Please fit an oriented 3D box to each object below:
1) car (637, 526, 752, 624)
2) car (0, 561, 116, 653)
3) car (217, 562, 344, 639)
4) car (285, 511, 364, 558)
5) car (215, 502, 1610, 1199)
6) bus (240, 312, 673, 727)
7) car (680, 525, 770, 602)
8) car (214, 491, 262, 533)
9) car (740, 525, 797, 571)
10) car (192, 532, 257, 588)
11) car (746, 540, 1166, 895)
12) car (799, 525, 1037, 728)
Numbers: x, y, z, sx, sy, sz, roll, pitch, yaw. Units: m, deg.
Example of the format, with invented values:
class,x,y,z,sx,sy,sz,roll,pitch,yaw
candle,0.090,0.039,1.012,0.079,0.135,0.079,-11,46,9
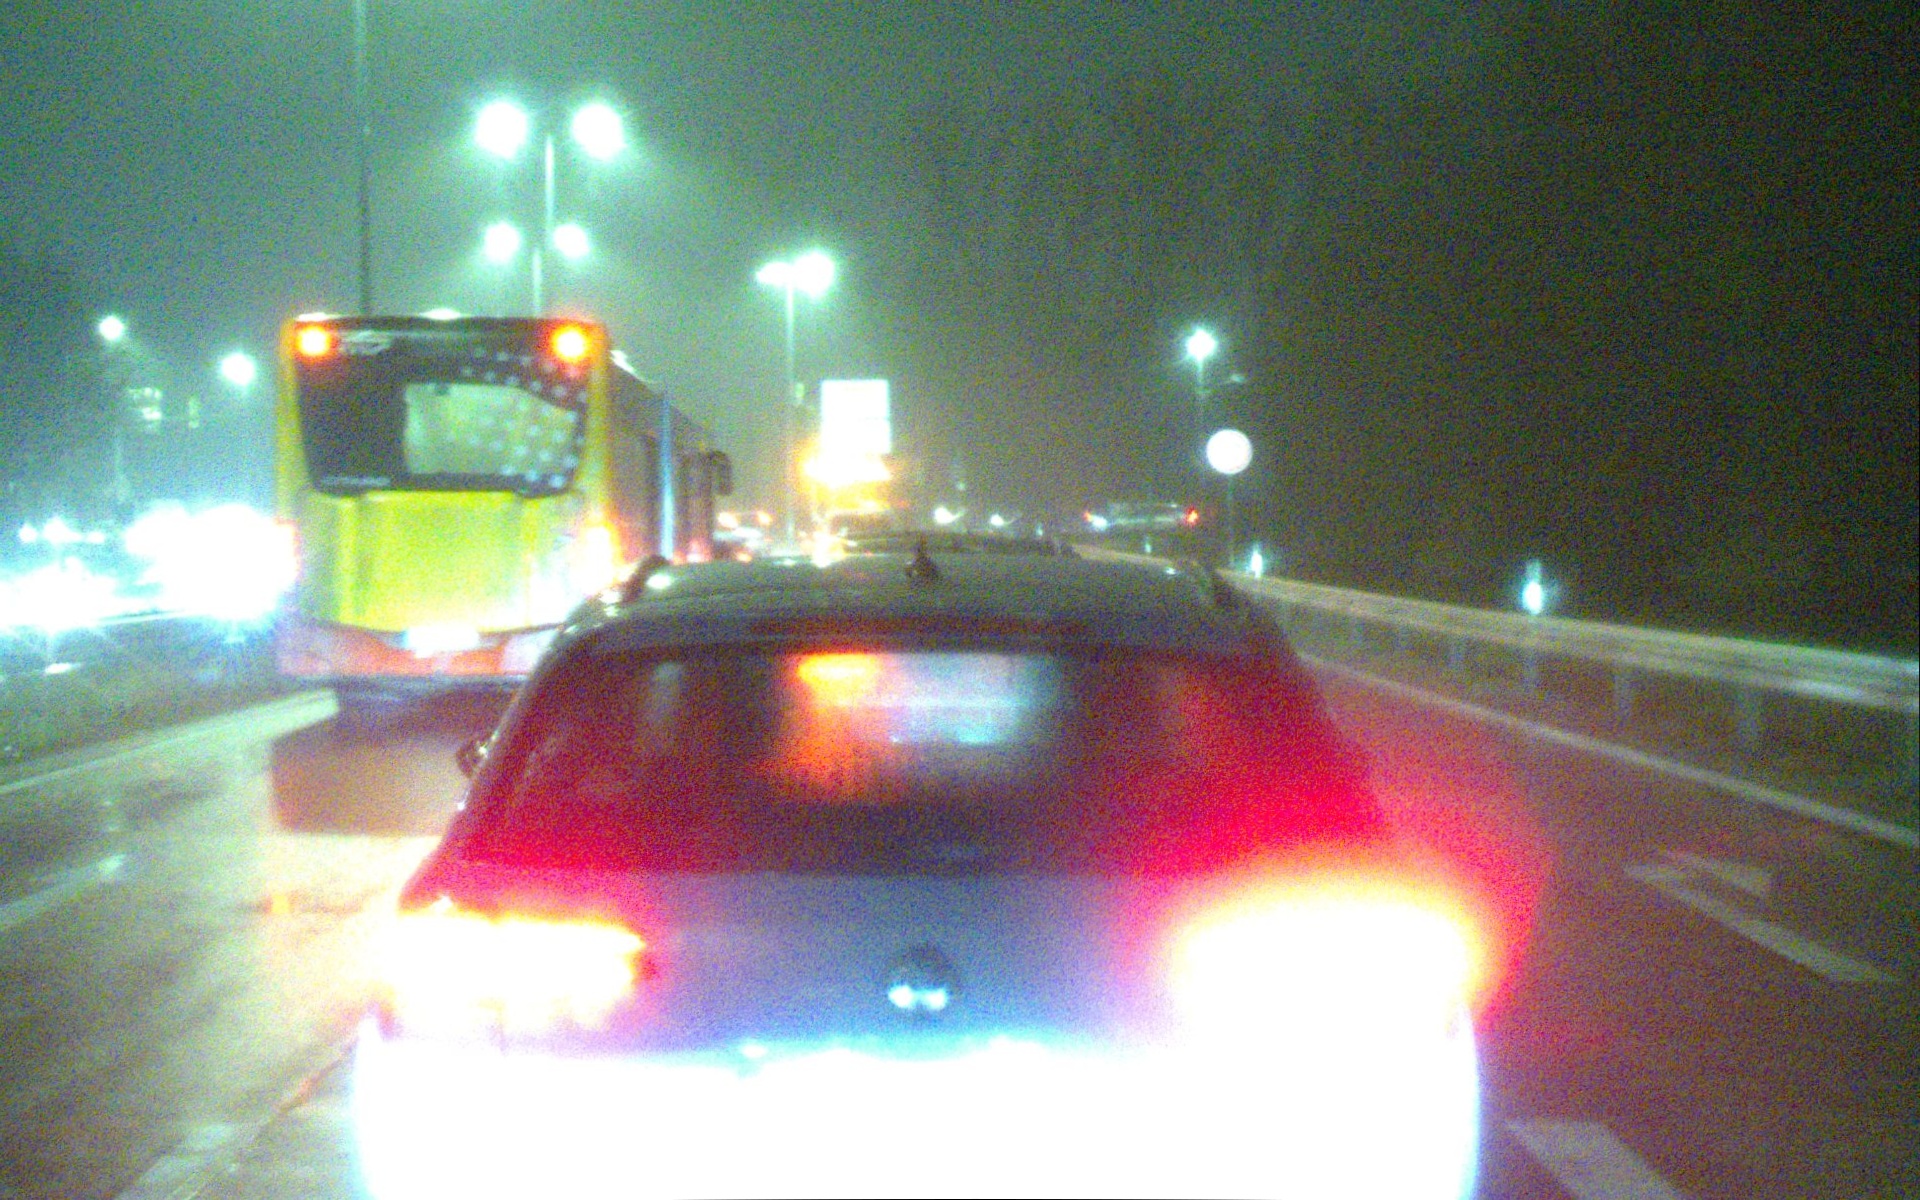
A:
class,x,y,z,sx,sy,sz,roll,pitch,yaw
car,-4.310,-0.435,56.226,1.779,1.538,3.875,0,1,-3
car,-15.238,0.102,56.641,1.610,1.377,4.164,-3,1,0
car,-13.227,-0.020,67.169,1.610,1.377,4.746,0,1,-1
car,-27.787,-2.854,150.216,1.993,2.007,4.000,0,1,-33
car,-0.103,0.607,6.889,1.821,1.479,4.568,3,1,-1
bus,-4.025,-0.673,29.380,2.815,3.013,8.688,0,1,-3
car,-4.831,-0.774,71.086,1.779,1.538,3.875,0,1,-3
car,-35.555,-4.328,169.225,2.120,2.007,4.001,1,1,-14
car,-6.493,-1.776,117.037,1.779,1.538,3.875,0,1,-1
car,-27.145,-1.488,126.929,1.993,2.007,4.001,1,1,-7
car,-0.117,0.449,16.597,1.731,1.444,4.725,0,1,-2
car,-0.412,0.168,28.575,1.739,1.559,3.777,0,1,-4
